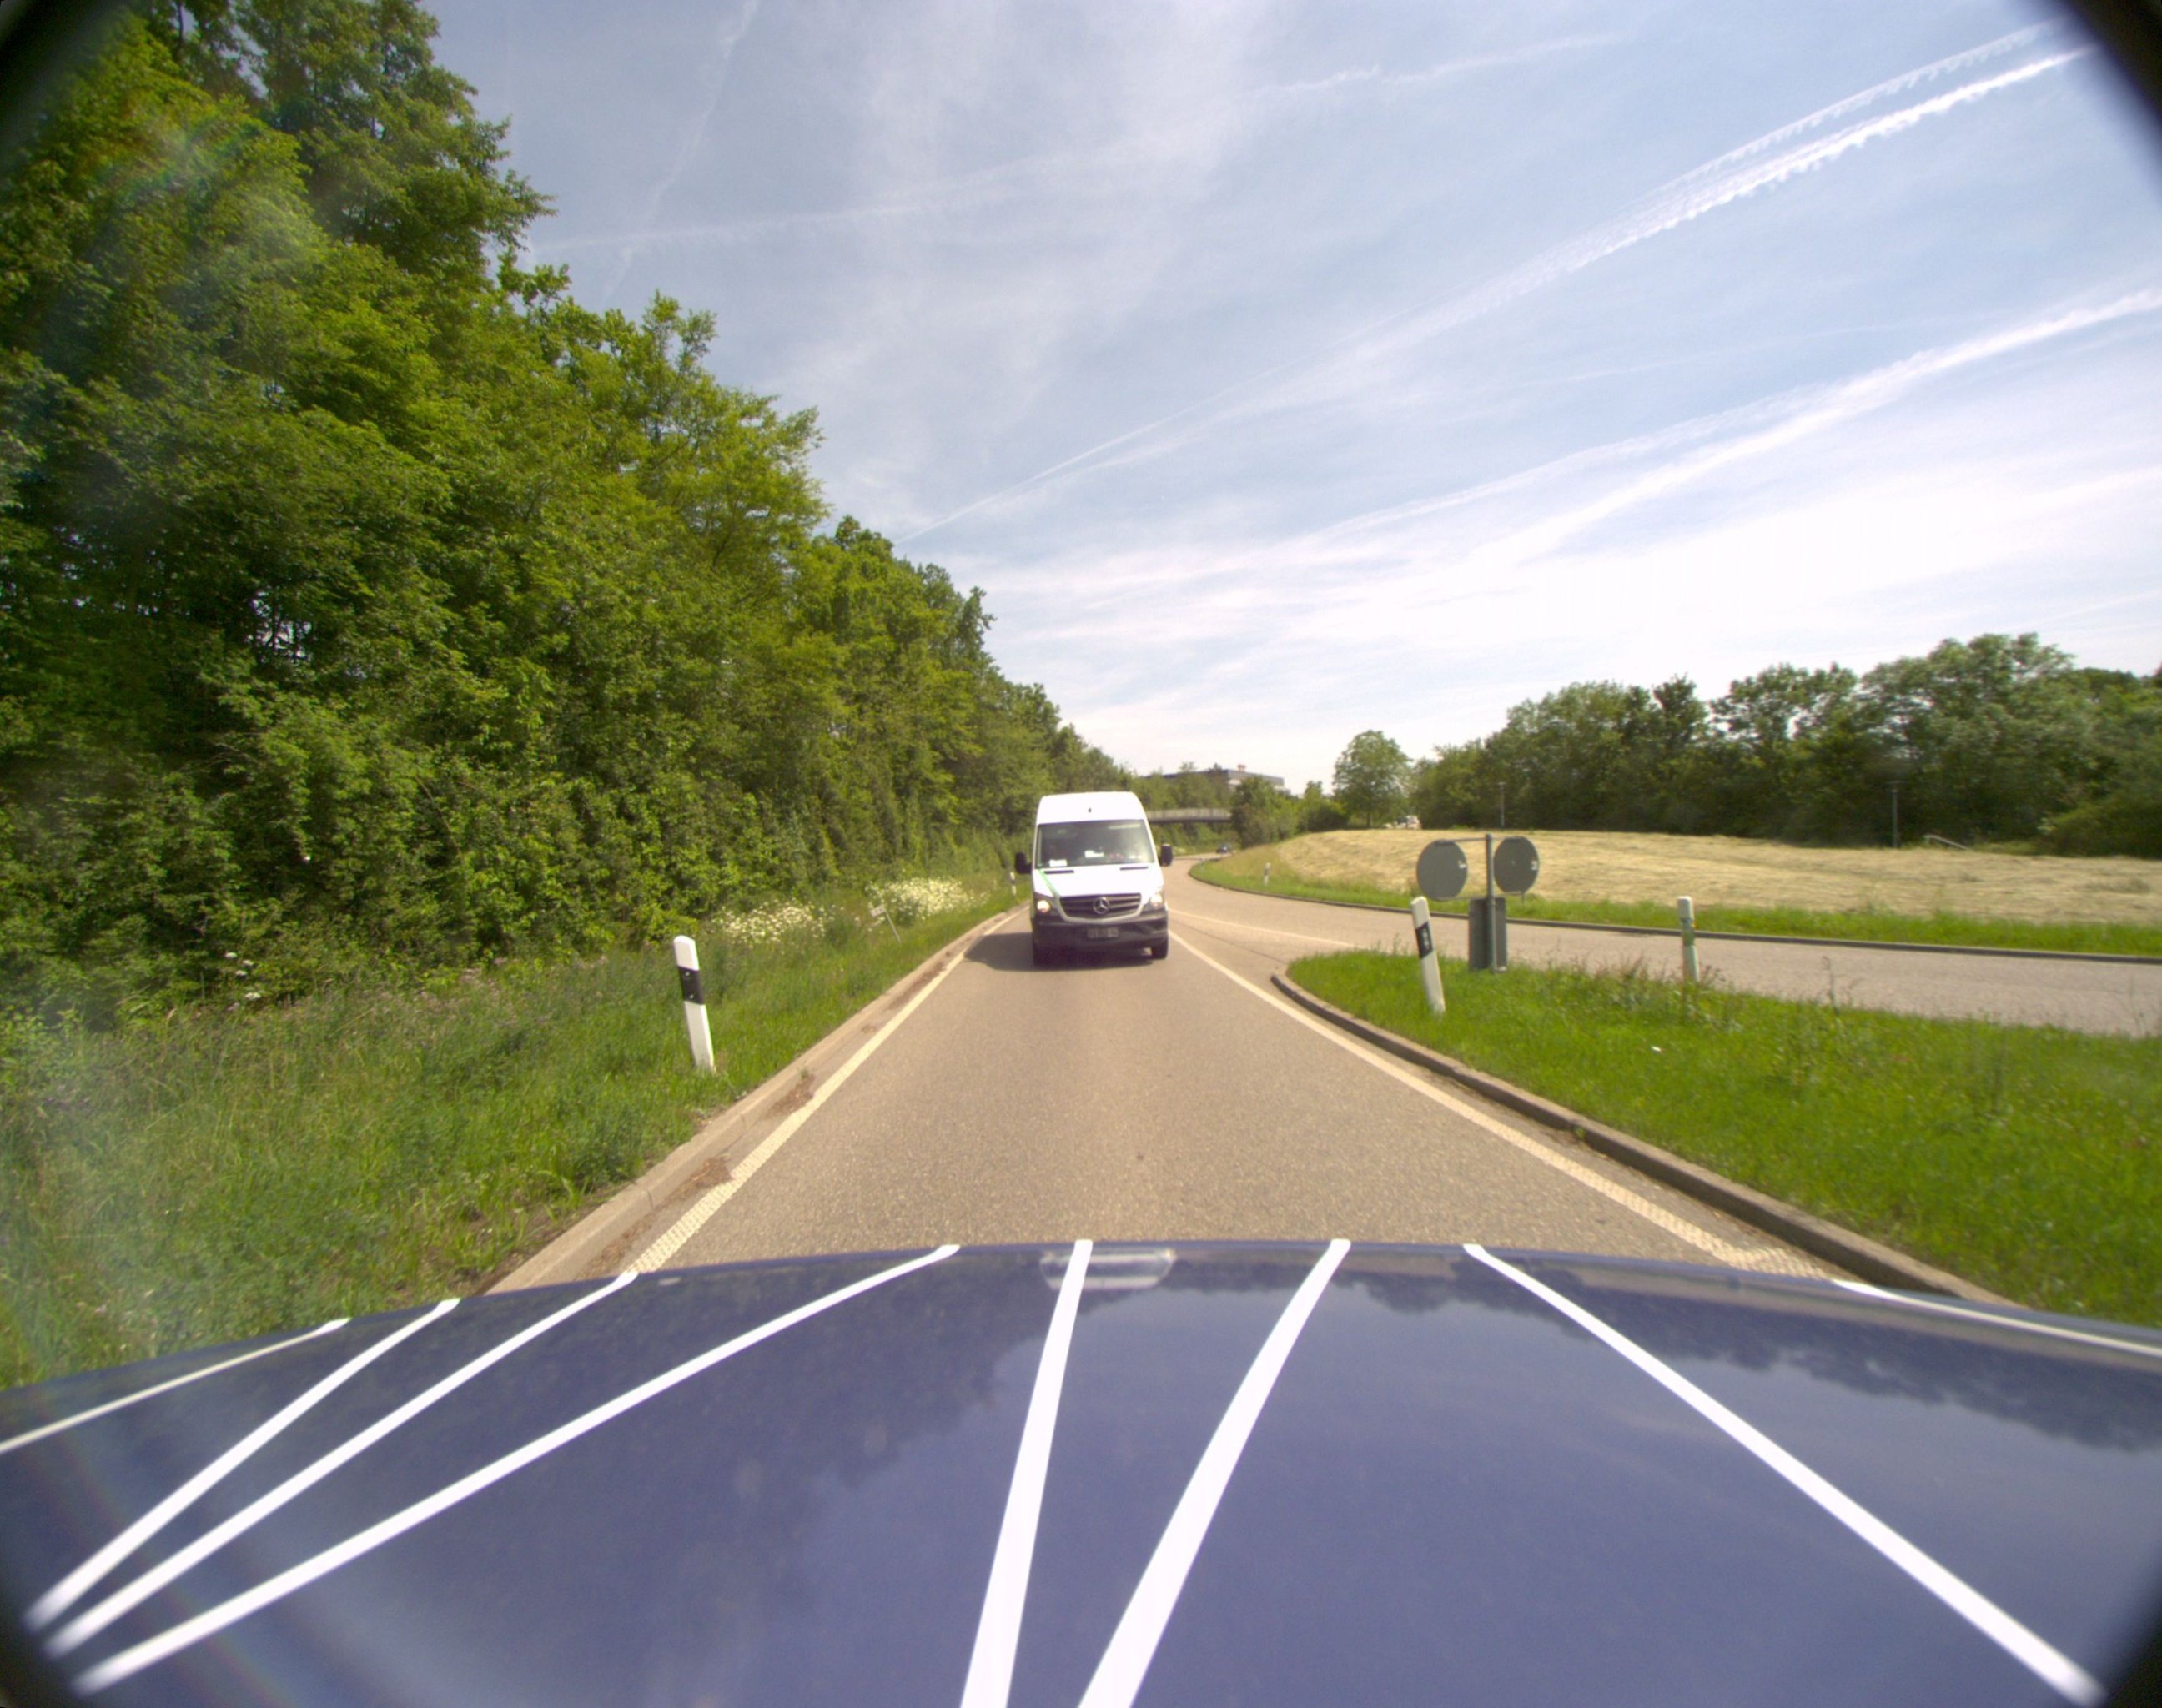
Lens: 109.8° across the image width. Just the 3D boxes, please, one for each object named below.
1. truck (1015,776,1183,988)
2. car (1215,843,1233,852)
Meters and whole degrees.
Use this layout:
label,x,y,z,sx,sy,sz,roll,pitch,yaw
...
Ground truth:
label,x,y,z,sx,sy,sz,roll,pitch,yaw
truck,0.171,0.359,12.549,1.999,2.571,5.886,-3,0,-1
car,23.800,-1.038,126.254,1.955,1.414,3.944,0,0,24
